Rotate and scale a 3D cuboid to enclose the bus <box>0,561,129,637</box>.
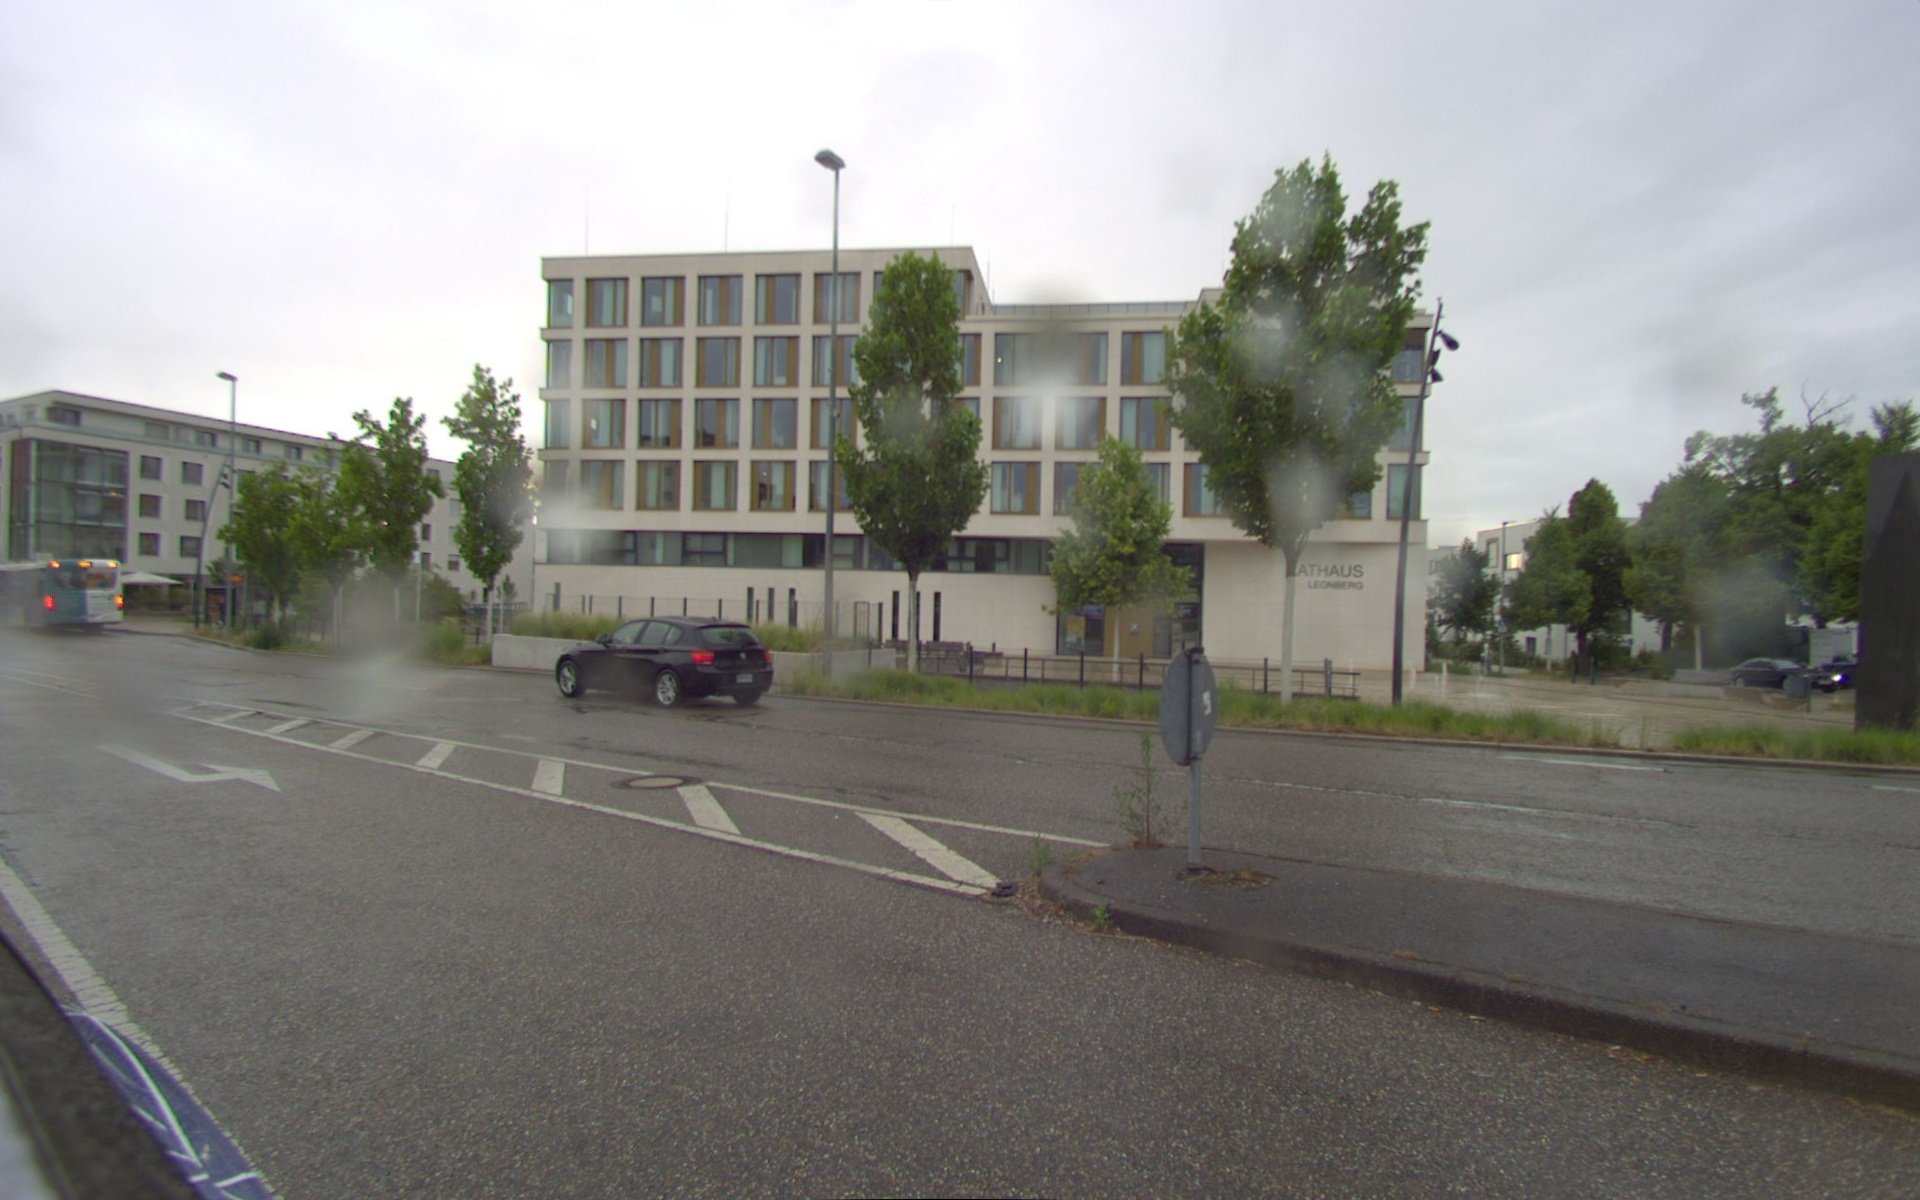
[{"bbox_3d":[-40.699,0.028,45.584,9.350,3.138,2.752,0,-2,36],"label":"bus"}]

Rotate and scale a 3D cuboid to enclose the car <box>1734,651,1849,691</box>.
[{"bbox_3d":[34.720,2.961,42.422,1.978,1.551,3.987,1,-3,10],"label":"car"}]

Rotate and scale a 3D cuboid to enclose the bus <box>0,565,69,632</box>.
[{"bbox_3d":[-48.210,-0.016,50.882,8.857,3.138,2.769,0,-2,33],"label":"bus"}]

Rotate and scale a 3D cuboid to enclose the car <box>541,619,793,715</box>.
[{"bbox_3d":[-4.925,1.030,16.768,4.272,1.401,1.769,-1,-2,36],"label":"car"}]
